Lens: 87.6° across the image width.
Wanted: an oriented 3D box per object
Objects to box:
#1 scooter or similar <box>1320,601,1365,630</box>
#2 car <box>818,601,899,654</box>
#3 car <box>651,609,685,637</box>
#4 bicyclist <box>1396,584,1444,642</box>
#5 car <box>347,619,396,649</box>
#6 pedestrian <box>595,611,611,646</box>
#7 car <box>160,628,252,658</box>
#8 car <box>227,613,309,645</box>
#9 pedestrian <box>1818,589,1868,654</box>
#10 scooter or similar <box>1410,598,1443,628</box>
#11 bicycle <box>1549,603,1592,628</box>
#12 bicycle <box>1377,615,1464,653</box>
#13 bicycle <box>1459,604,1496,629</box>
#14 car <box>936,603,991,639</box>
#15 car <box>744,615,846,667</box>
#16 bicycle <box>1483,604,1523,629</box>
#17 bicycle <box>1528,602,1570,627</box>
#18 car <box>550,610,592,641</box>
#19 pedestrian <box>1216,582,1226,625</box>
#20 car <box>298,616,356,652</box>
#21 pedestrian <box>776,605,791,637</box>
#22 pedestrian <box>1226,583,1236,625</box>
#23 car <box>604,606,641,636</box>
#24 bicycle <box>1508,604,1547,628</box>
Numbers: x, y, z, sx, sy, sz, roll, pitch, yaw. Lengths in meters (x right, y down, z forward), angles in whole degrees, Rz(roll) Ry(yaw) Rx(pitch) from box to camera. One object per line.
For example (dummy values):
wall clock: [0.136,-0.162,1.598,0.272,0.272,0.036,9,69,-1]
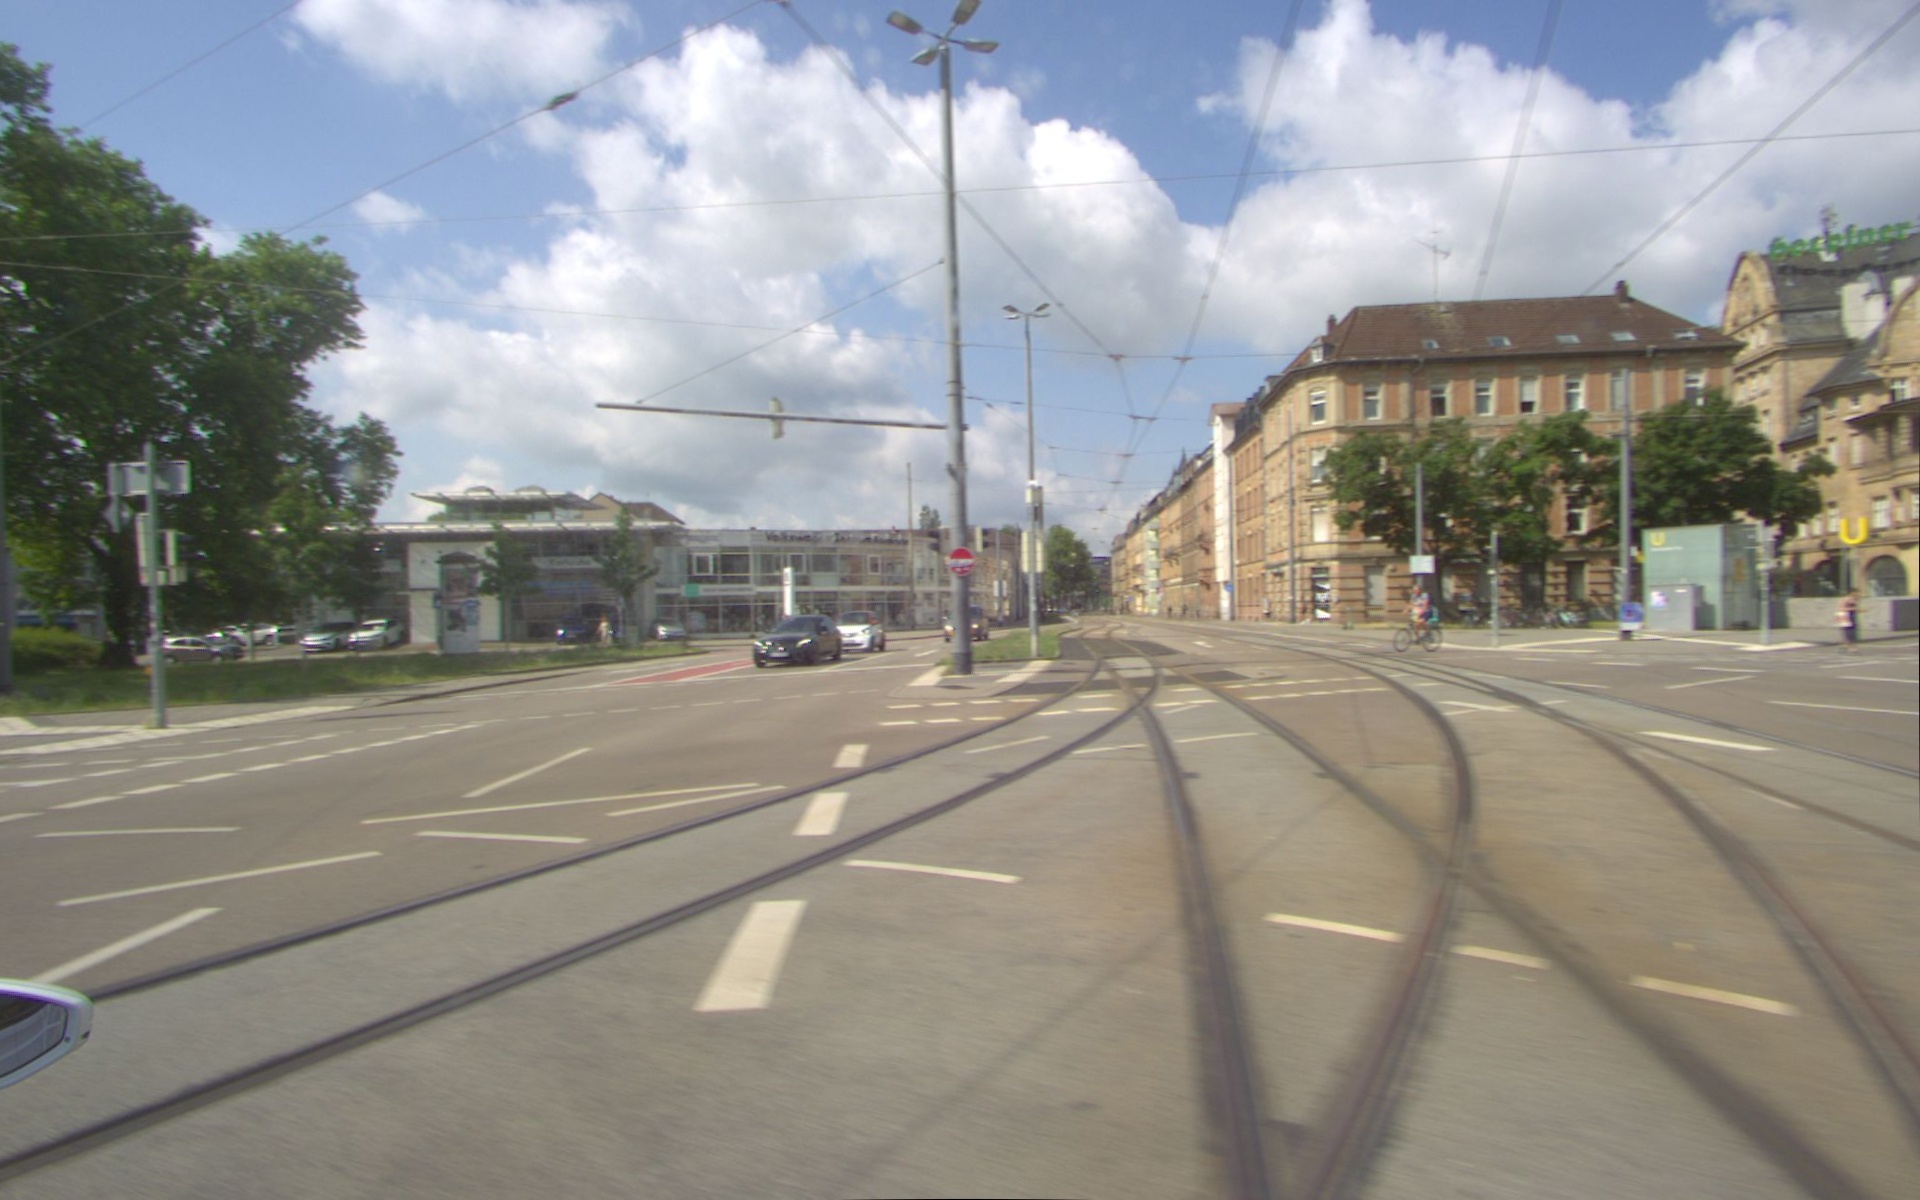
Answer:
scooter or similar: [19.409,0.807,50.916,1.157,1.403,2.805,1,-1,-1]
car: [-3.708,1.031,37.417,1.962,1.861,3.999,0,-1,10]
car: [-18.942,1.488,64.951,1.901,1.705,3.992,1,-2,-19]
bicyclist: [13.527,0.388,29.473,1.126,1.696,0.615,1,-1,3]
car: [-36.040,2.051,61.401,1.760,1.704,3.991,-1,0,-18]
pedestrian: [-20.728,1.661,58.215,0.796,2.039,0.807,1,-1,-16]
car: [-41.014,2.361,54.544,3.613,1.507,1.672,2,0,-10]
car: [-45.610,1.912,66.034,3.923,2.039,2.000,1,-1,-5]
pedestrian: [21.306,0.522,24.164,0.729,1.536,0.544,-1,0,13]
scooter or similar: [23.585,0.643,50.649,0.863,1.502,2.014,-1,0,5]
bicycle: [29.894,0.738,49.083,0.746,1.181,2.684,-1,0,7]
bicycle: [13.558,0.999,29.502,2.155,1.084,0.878,1,-1,0]
bicycle: [25.700,0.823,49.784,0.746,1.181,2.684,-1,0,7]
car: [0.205,0.977,47.246,1.962,1.594,3.735,-1,0,10]
car: [-4.785,1.165,29.559,1.835,1.394,3.939,-1,0,9]
bicycle: [26.856,0.809,49.573,0.746,1.181,2.684,1,0,7]
bicycle: [28.978,0.721,49.334,0.746,1.181,2.684,-1,0,7]
car: [-24.281,1.596,62.652,1.964,1.861,3.995,-2,-1,-14]
pedestrian: [19.635,0.279,75.373,0.656,3.161,0.887,0,-1,14]
car: [-38.170,2.037,60.500,1.966,2.039,3.992,2,-2,-18]
pedestrian: [-11.467,1.332,64.947,0.856,2.040,0.702,-1,0,-18]
pedestrian: [20.337,0.285,75.143,0.713,3.115,0.887,0,-1,14]
car: [-21.110,1.322,62.674,1.964,1.747,3.994,1,-2,-16]
bicycle: [27.989,0.803,49.429,0.746,1.180,2.685,1,-2,8]
